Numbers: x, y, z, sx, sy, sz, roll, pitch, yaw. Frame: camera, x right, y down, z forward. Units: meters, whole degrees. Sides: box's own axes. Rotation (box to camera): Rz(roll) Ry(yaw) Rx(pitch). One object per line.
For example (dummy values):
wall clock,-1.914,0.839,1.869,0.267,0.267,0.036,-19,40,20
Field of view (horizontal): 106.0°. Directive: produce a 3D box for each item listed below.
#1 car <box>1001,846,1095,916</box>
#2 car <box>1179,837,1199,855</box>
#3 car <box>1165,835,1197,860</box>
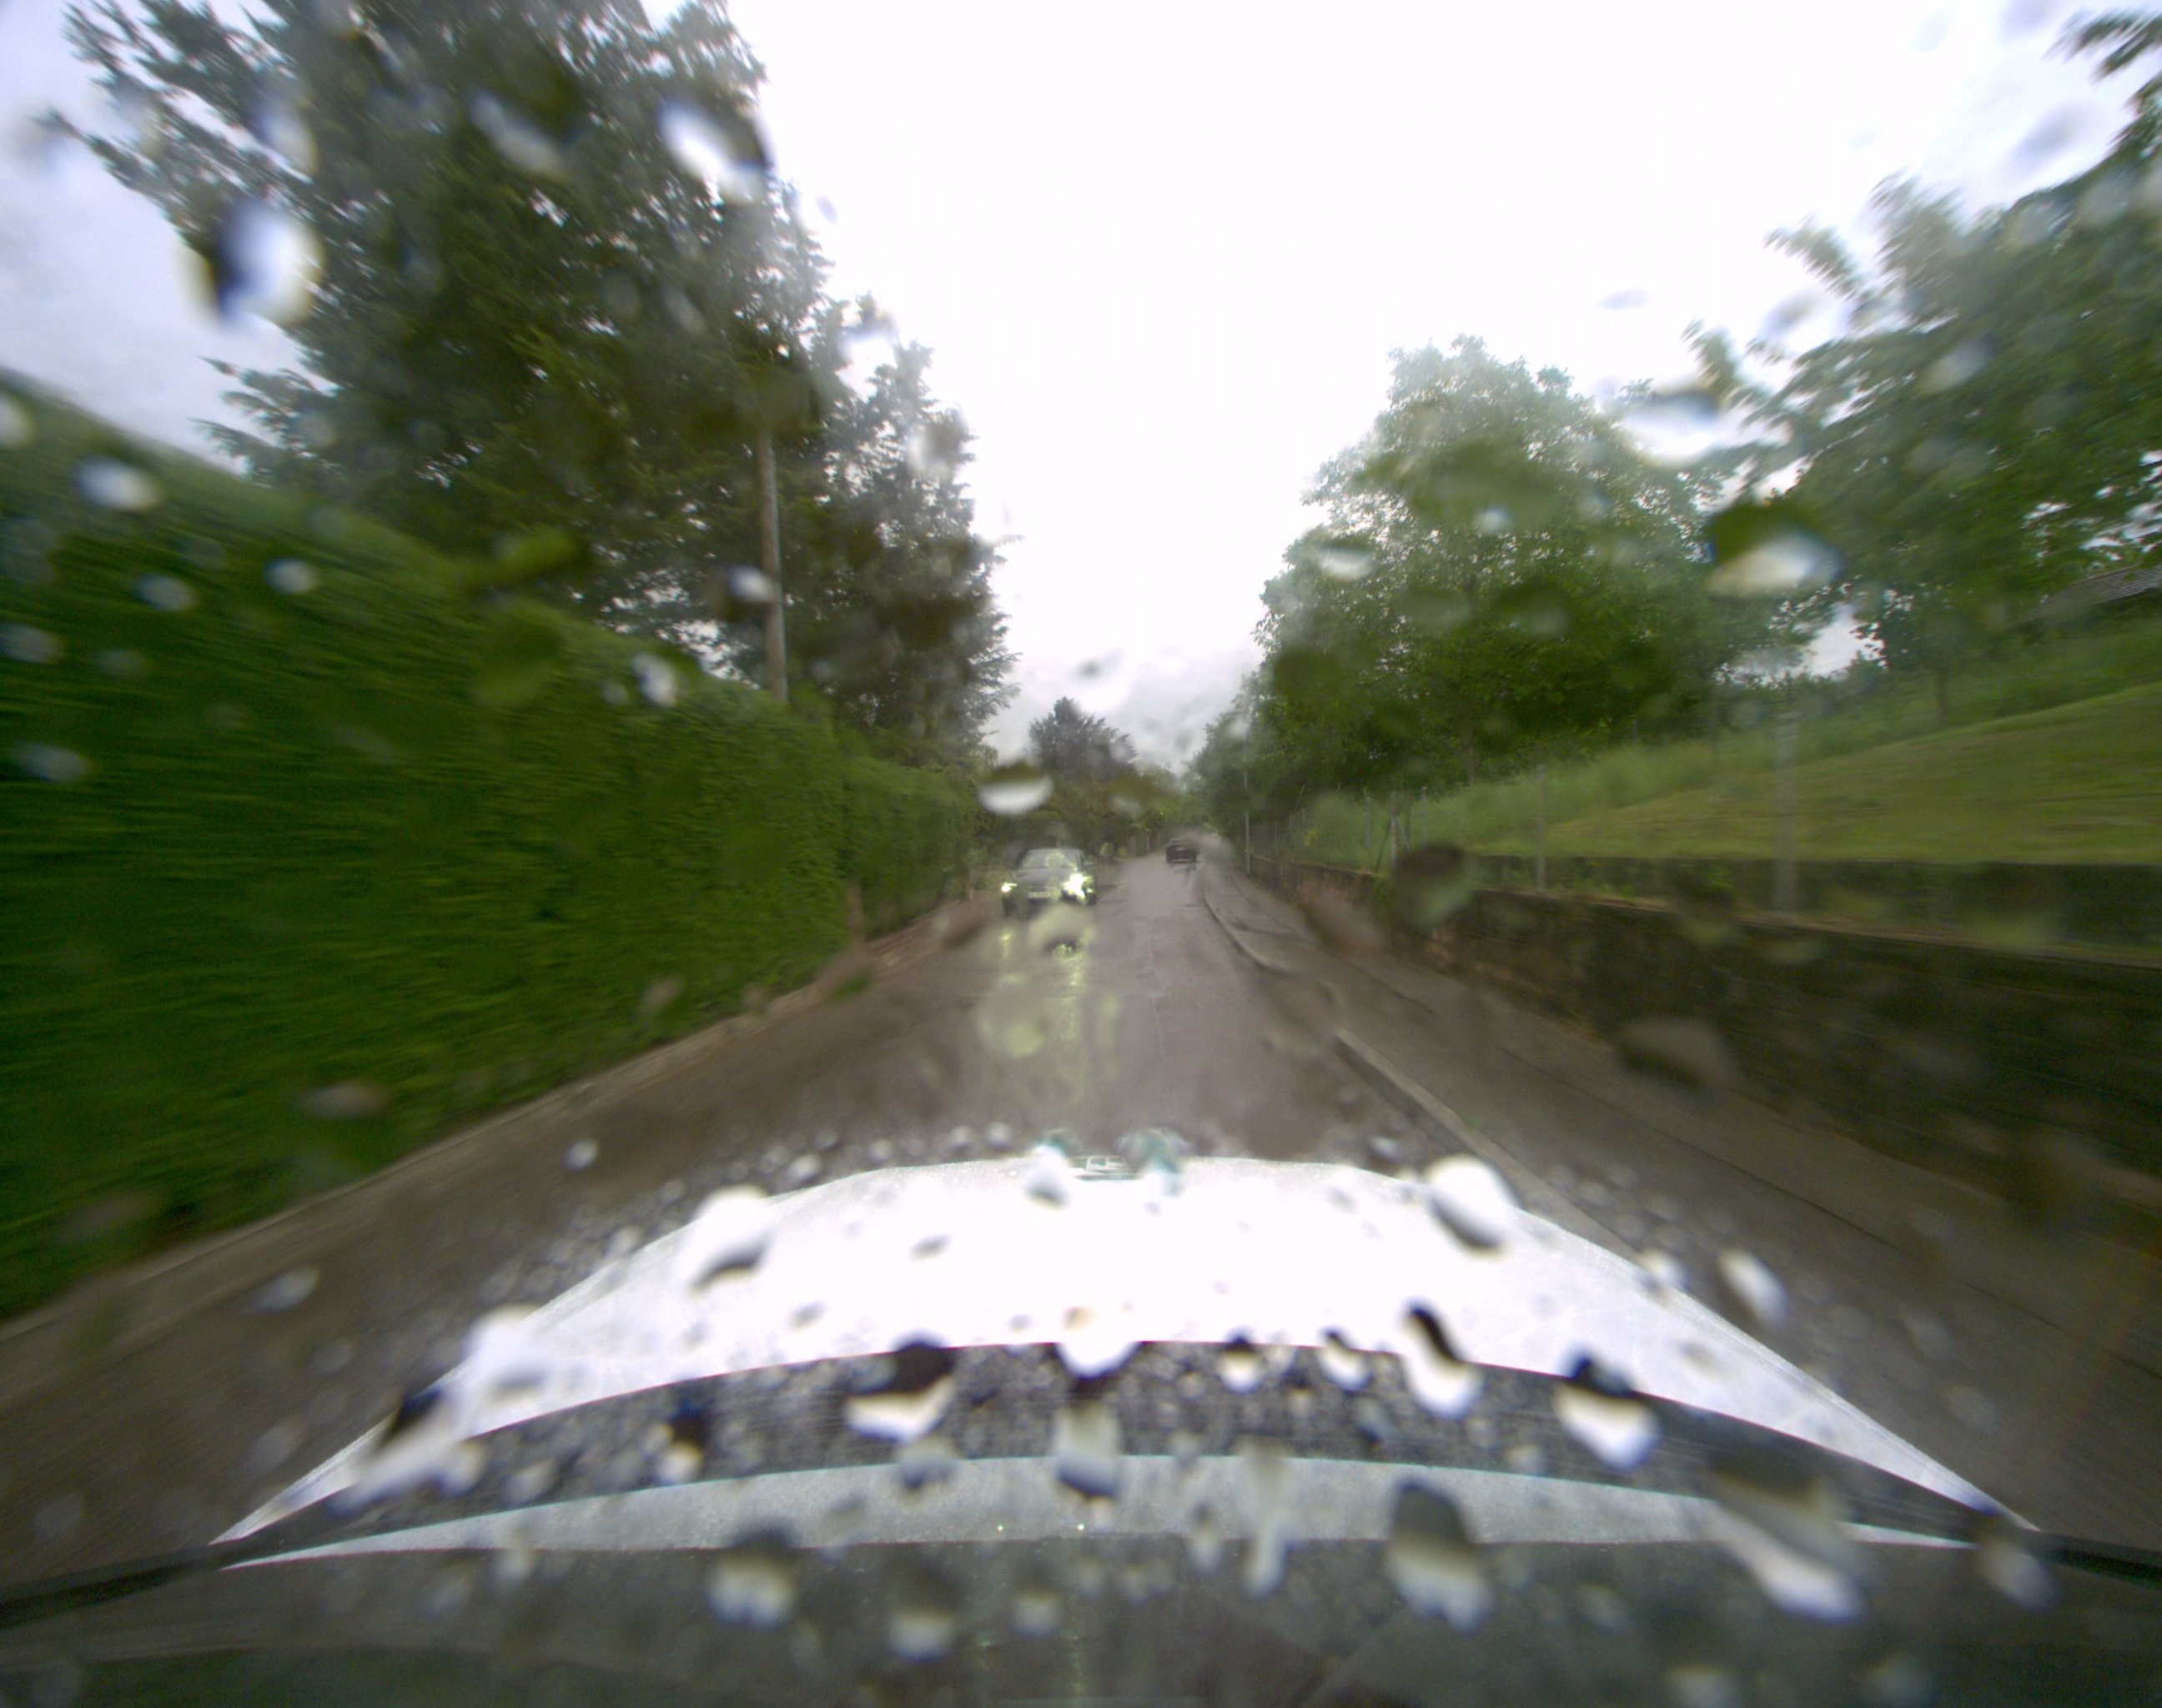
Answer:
car,-0.683,0.570,20.064,1.881,1.523,4.426,-1,1,3
car,9.150,-0.677,68.733,1.625,1.414,3.553,-1,0,8
car,6.071,-0.377,49.210,1.624,1.450,3.555,-1,0,11
